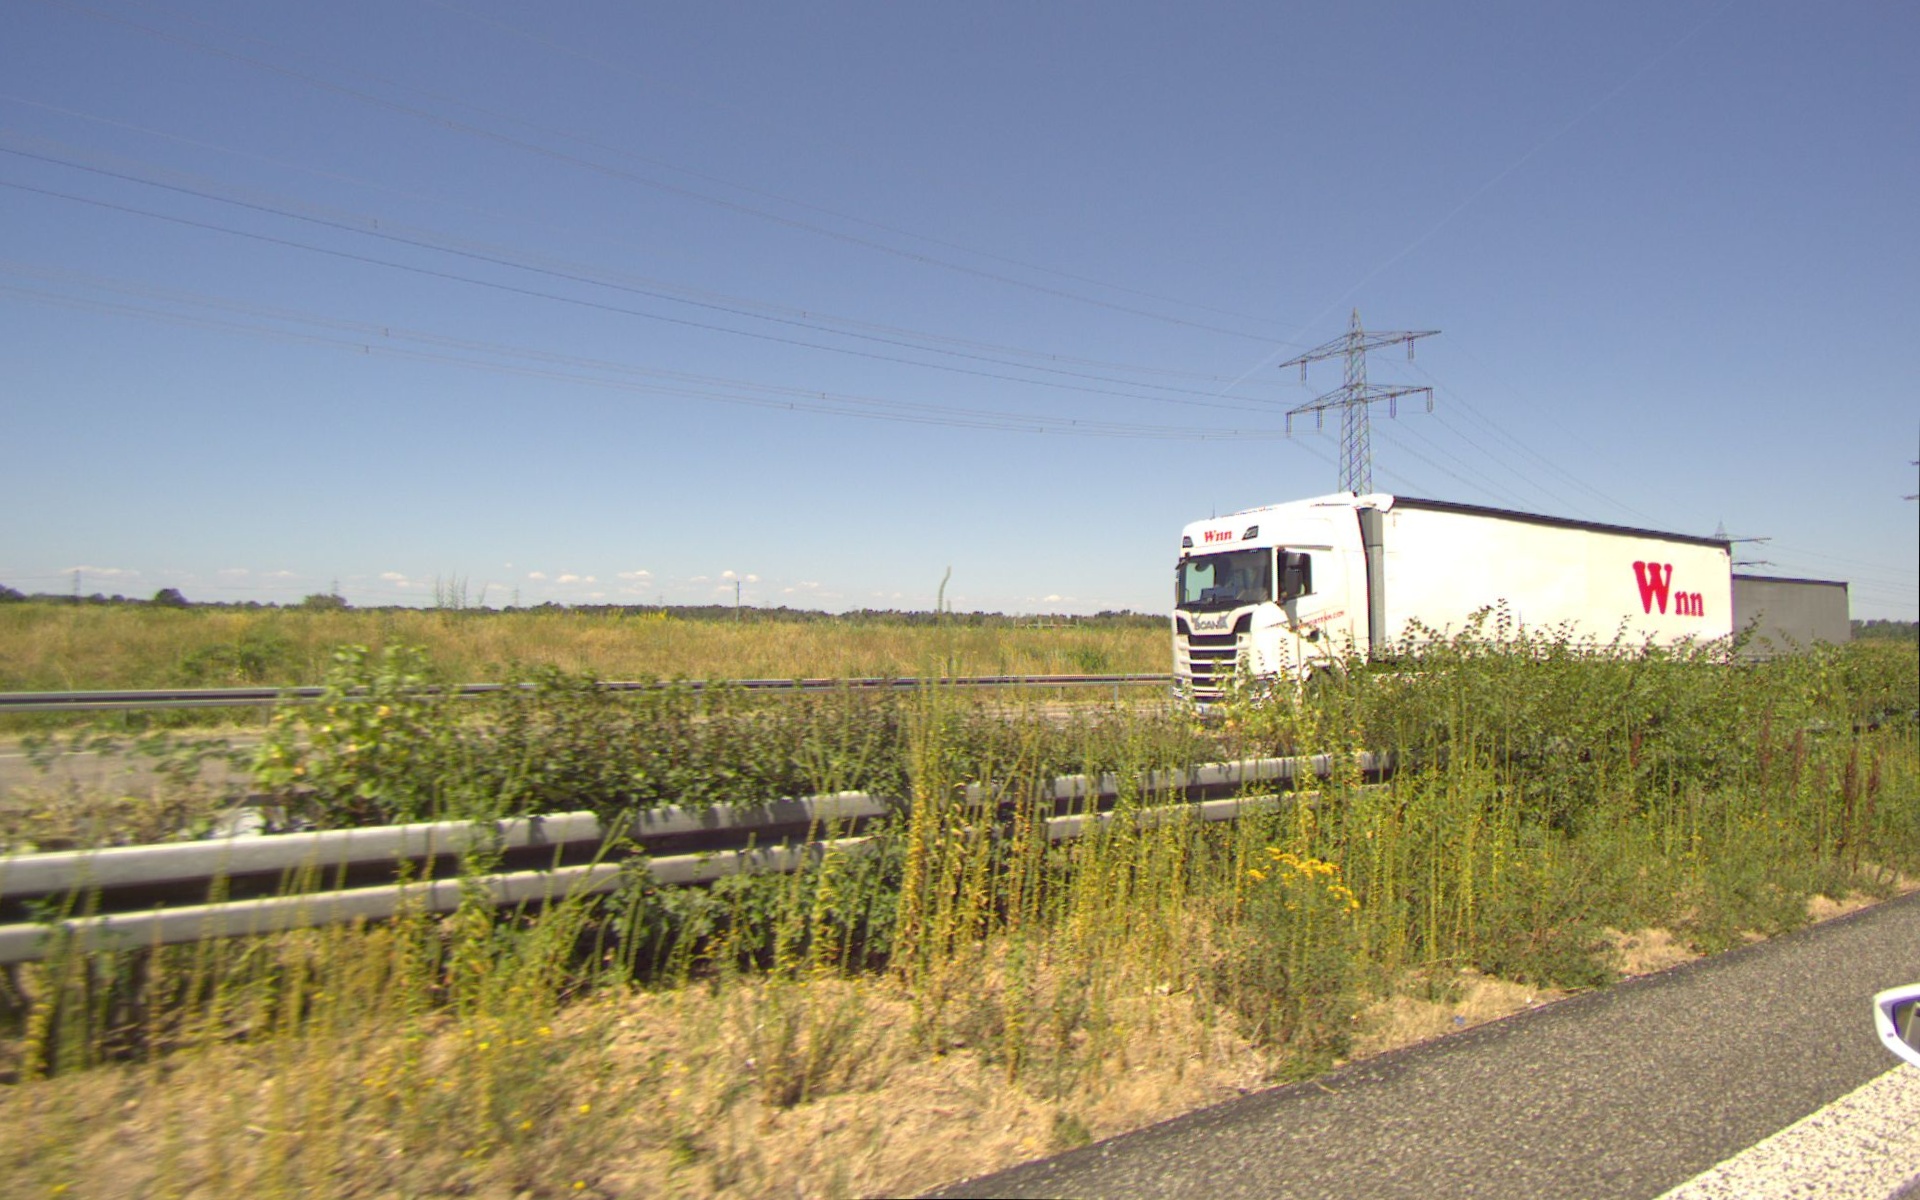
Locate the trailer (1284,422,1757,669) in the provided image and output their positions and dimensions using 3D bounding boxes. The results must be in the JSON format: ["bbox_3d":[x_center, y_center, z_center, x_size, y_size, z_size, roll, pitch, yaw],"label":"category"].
[{"bbox_3d":[13.298,-0.790,22.781,14.077,4.407,2.755,2,-1,-31],"label":"trailer"}]

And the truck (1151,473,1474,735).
[{"bbox_3d":[6.632,0.138,18.784,5.505,4.213,2.792,2,-1,-31],"label":"truck"}]

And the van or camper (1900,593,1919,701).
[{"bbox_3d":[26.394,1.226,25.587,6.214,2.616,1.983,2,-1,-31],"label":"van or camper"}]

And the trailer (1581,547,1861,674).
[{"bbox_3d":[27.226,0.509,35.494,14.074,3.880,2.756,2,-1,-31],"label":"trailer"}]
